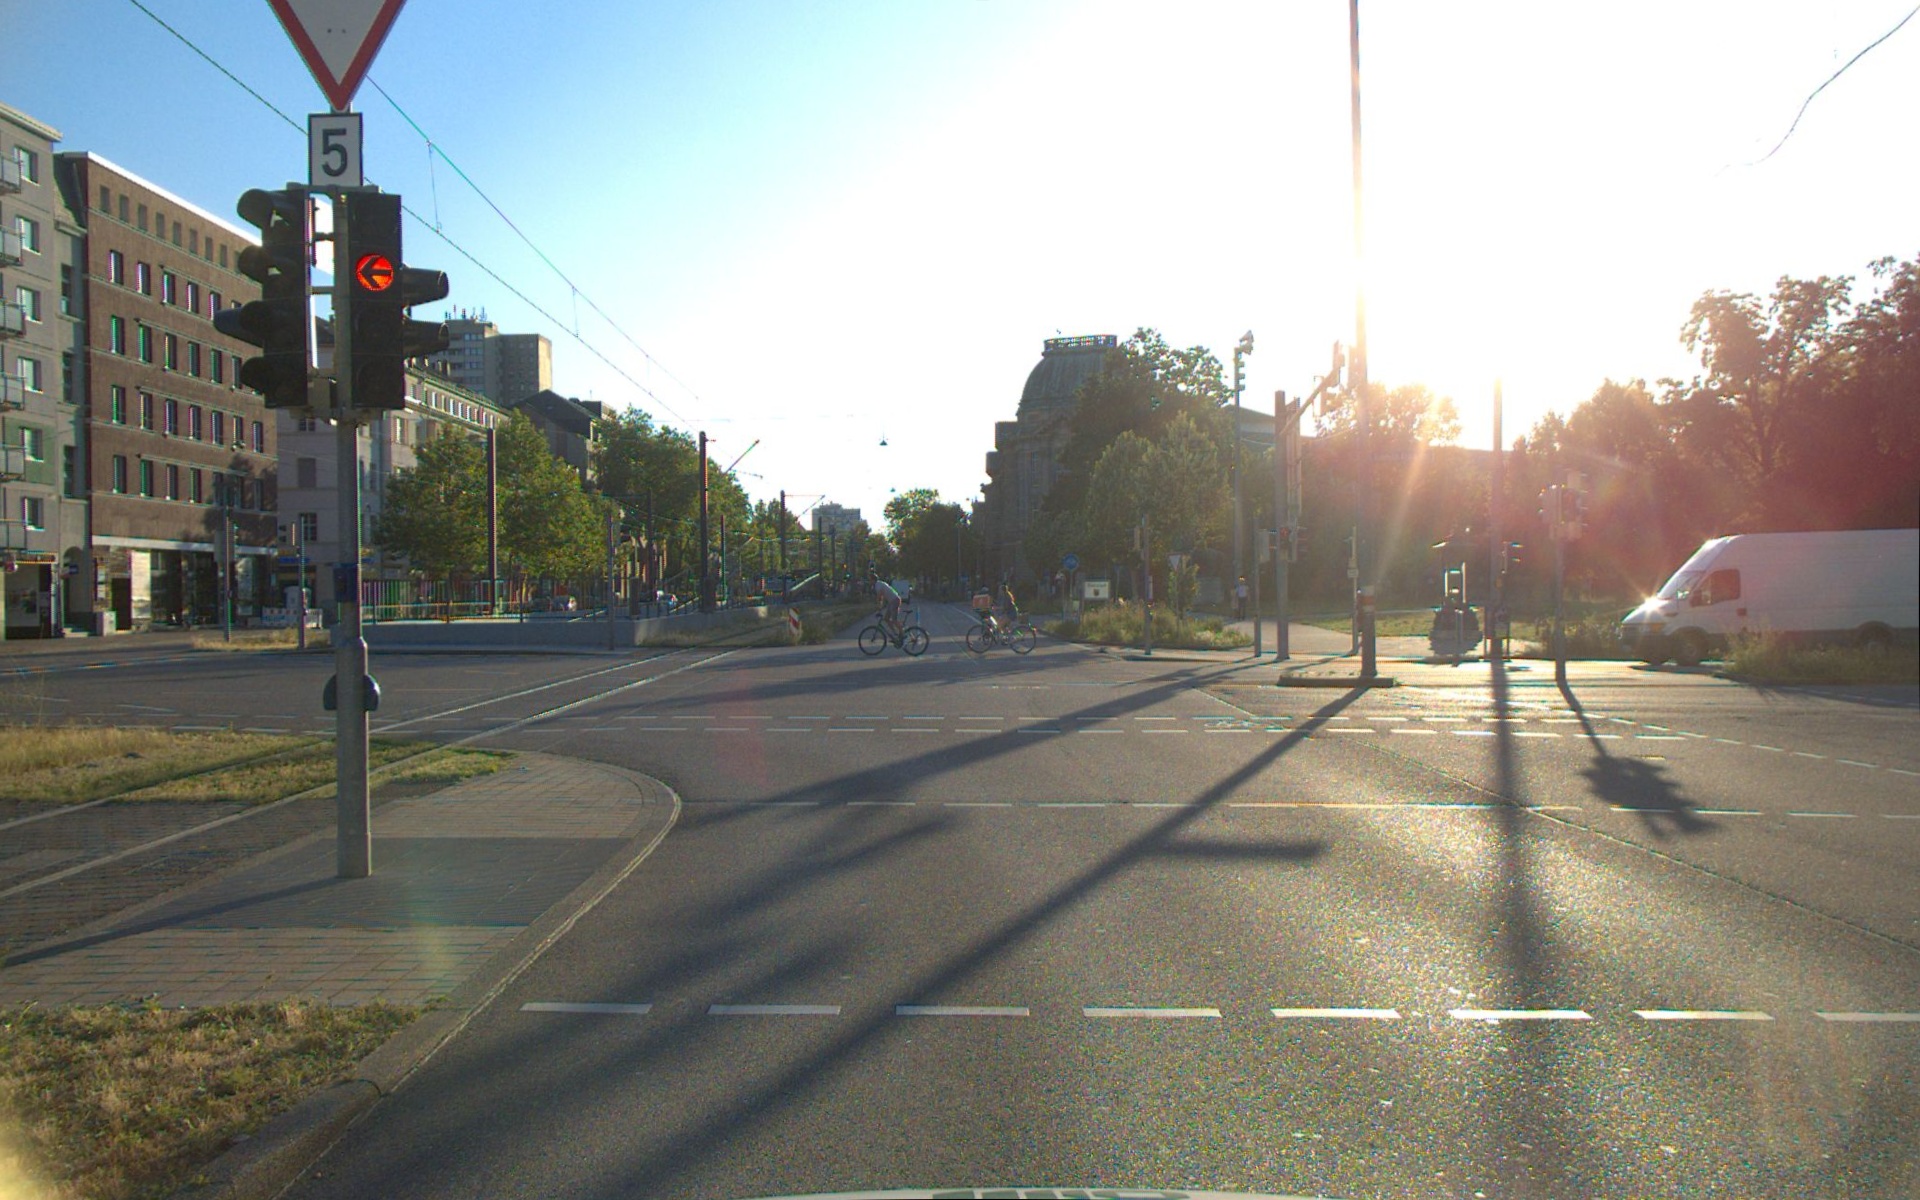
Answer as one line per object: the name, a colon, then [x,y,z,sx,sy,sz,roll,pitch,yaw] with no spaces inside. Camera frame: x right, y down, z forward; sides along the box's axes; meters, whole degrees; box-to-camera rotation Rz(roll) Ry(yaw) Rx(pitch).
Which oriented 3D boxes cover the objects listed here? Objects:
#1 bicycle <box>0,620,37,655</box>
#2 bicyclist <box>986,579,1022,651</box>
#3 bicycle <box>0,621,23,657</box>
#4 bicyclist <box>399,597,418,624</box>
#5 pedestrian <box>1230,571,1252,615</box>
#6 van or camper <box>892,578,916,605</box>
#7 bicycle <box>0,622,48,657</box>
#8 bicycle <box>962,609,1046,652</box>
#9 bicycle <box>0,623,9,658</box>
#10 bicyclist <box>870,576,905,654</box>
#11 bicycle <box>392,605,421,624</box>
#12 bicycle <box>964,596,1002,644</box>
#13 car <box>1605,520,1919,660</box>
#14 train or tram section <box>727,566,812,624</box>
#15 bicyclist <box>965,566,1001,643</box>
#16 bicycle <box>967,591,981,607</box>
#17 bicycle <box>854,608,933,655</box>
bicycle: [-32.871,1.291,57.007,1.655,1.190,0.748,-1,0,1]
bicyclist: [1.146,0.388,42.822,0.859,1.850,0.537,-1,0,-7]
bicycle: [-32.903,1.333,56.232,1.655,1.199,0.748,-1,0,1]
bicyclist: [-29.519,0.561,88.571,0.489,1.451,0.857,-1,0,24]
pedestrian: [11.855,-0.280,69.685,0.815,1.835,0.811,-1,0,14]
van or camper: [-5.934,-0.865,174.827,2.400,2.819,5.598,-1,0,-3]
bicycle: [-32.855,1.374,57.739,1.655,1.164,0.697,-1,0,1]
bicycle: [1.138,0.780,42.825,2.122,1.102,0.538,0,-1,-7]
bicycle: [-32.930,1.367,55.477,1.655,1.173,0.705,-1,0,1]
bicyclist: [-1.762,0.357,40.028,0.777,1.850,0.645,-1,0,-7]
bicycle: [-29.584,0.758,88.426,0.497,0.961,1.668,-1,0,23]
bicycle: [0.694,0.585,50.492,1.075,1.423,2.831,-1,0,-1]
car: [17.808,-0.228,35.785,6.866,2.877,2.093,-1,0,1]
train or tram section: [-14.208,-0.472,124.744,4.294,3.916,11.418,-1,2,4]
bicyclist: [0.706,0.132,50.379,1.060,2.316,0.986,0,0,-1]
bicycle: [0.995,-0.058,118.640,0.905,1.131,2.332,-1,0,-1]
bicycle: [-1.617,0.758,40.050,1.864,1.094,0.631,-1,0,-6]
